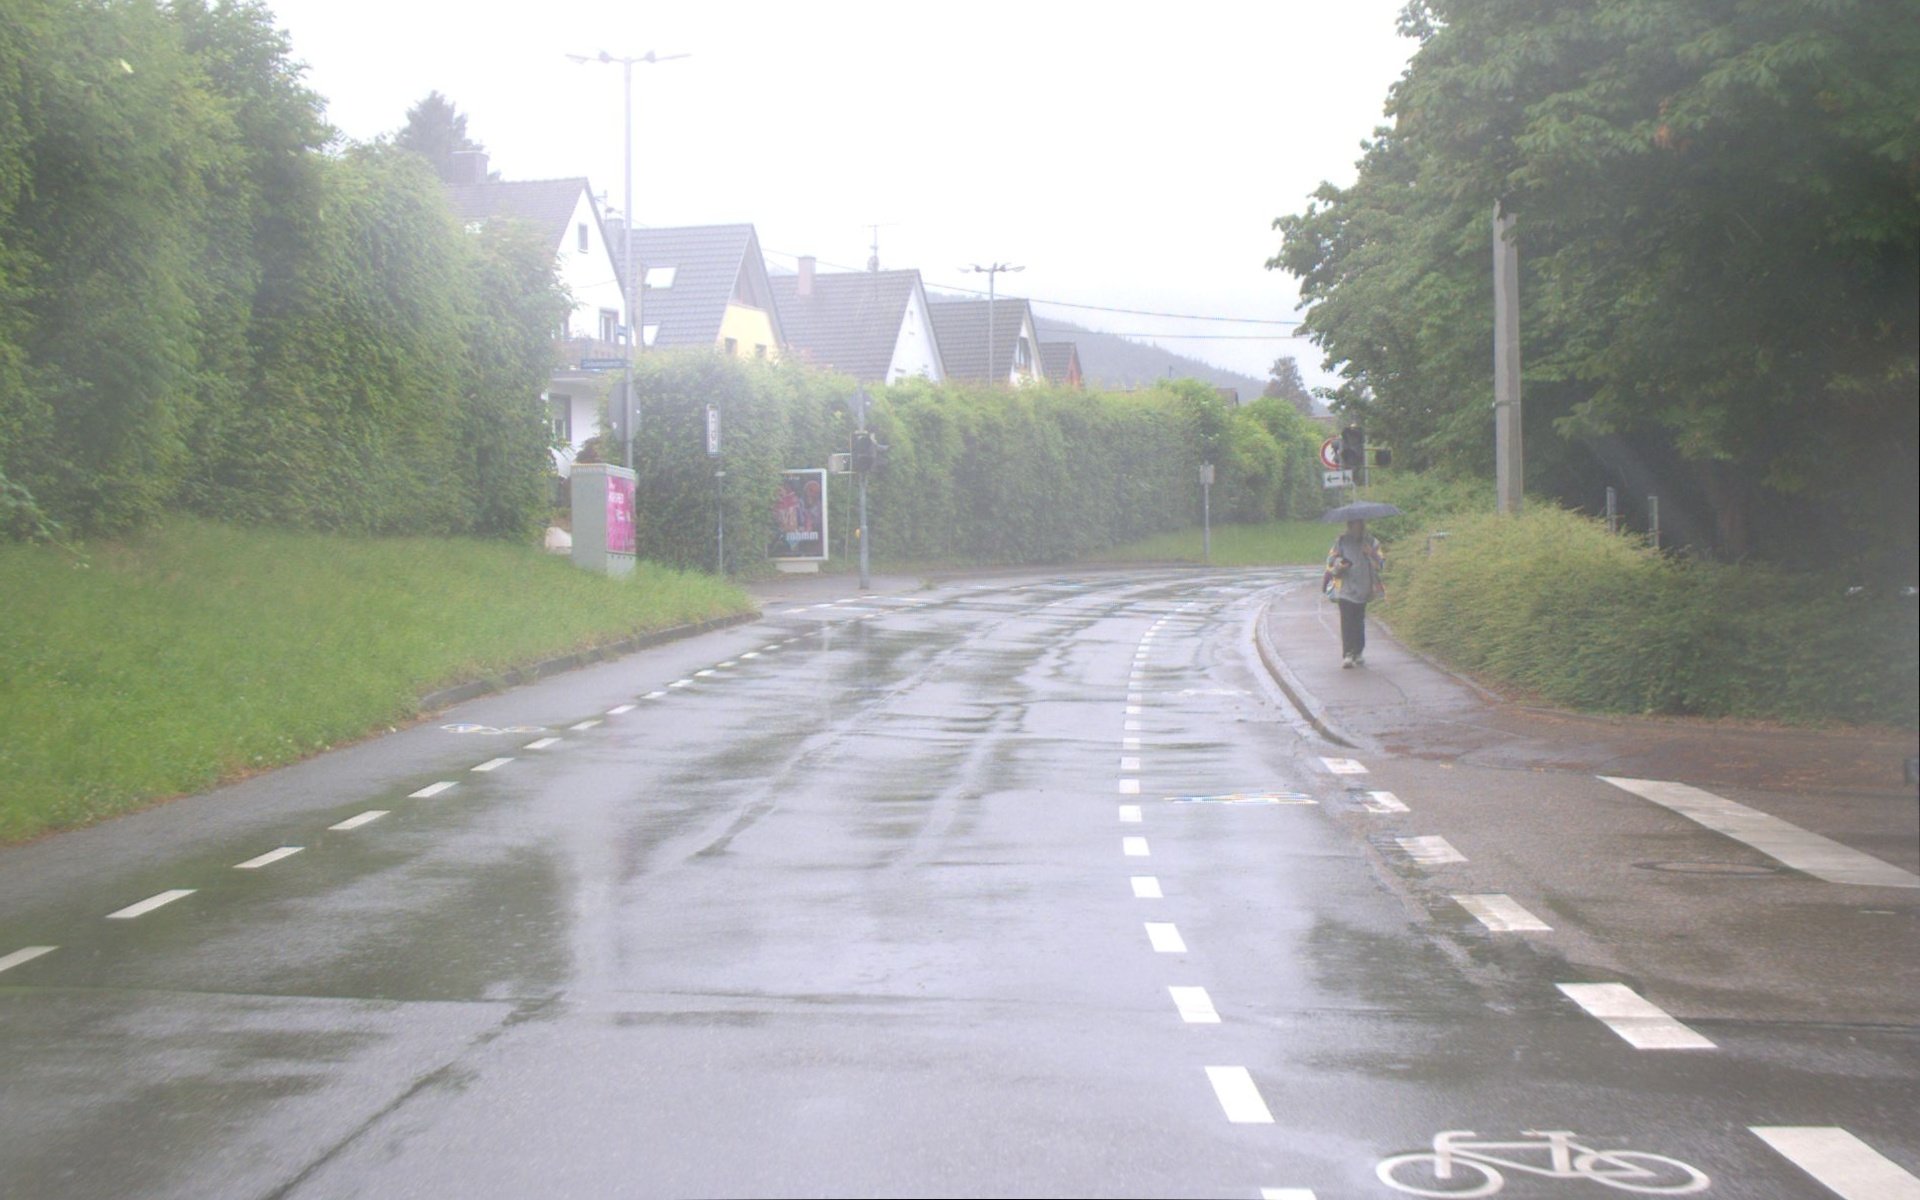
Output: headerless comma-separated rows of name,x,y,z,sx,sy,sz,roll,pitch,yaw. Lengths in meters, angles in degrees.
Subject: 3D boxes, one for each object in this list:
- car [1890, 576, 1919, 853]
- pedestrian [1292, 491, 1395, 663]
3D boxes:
car,7.171,0.606,17.288,4.605,1.383,1.945,1,1,22
pedestrian,3.828,-0.239,34.413,0.920,1.669,1.057,-2,1,4
